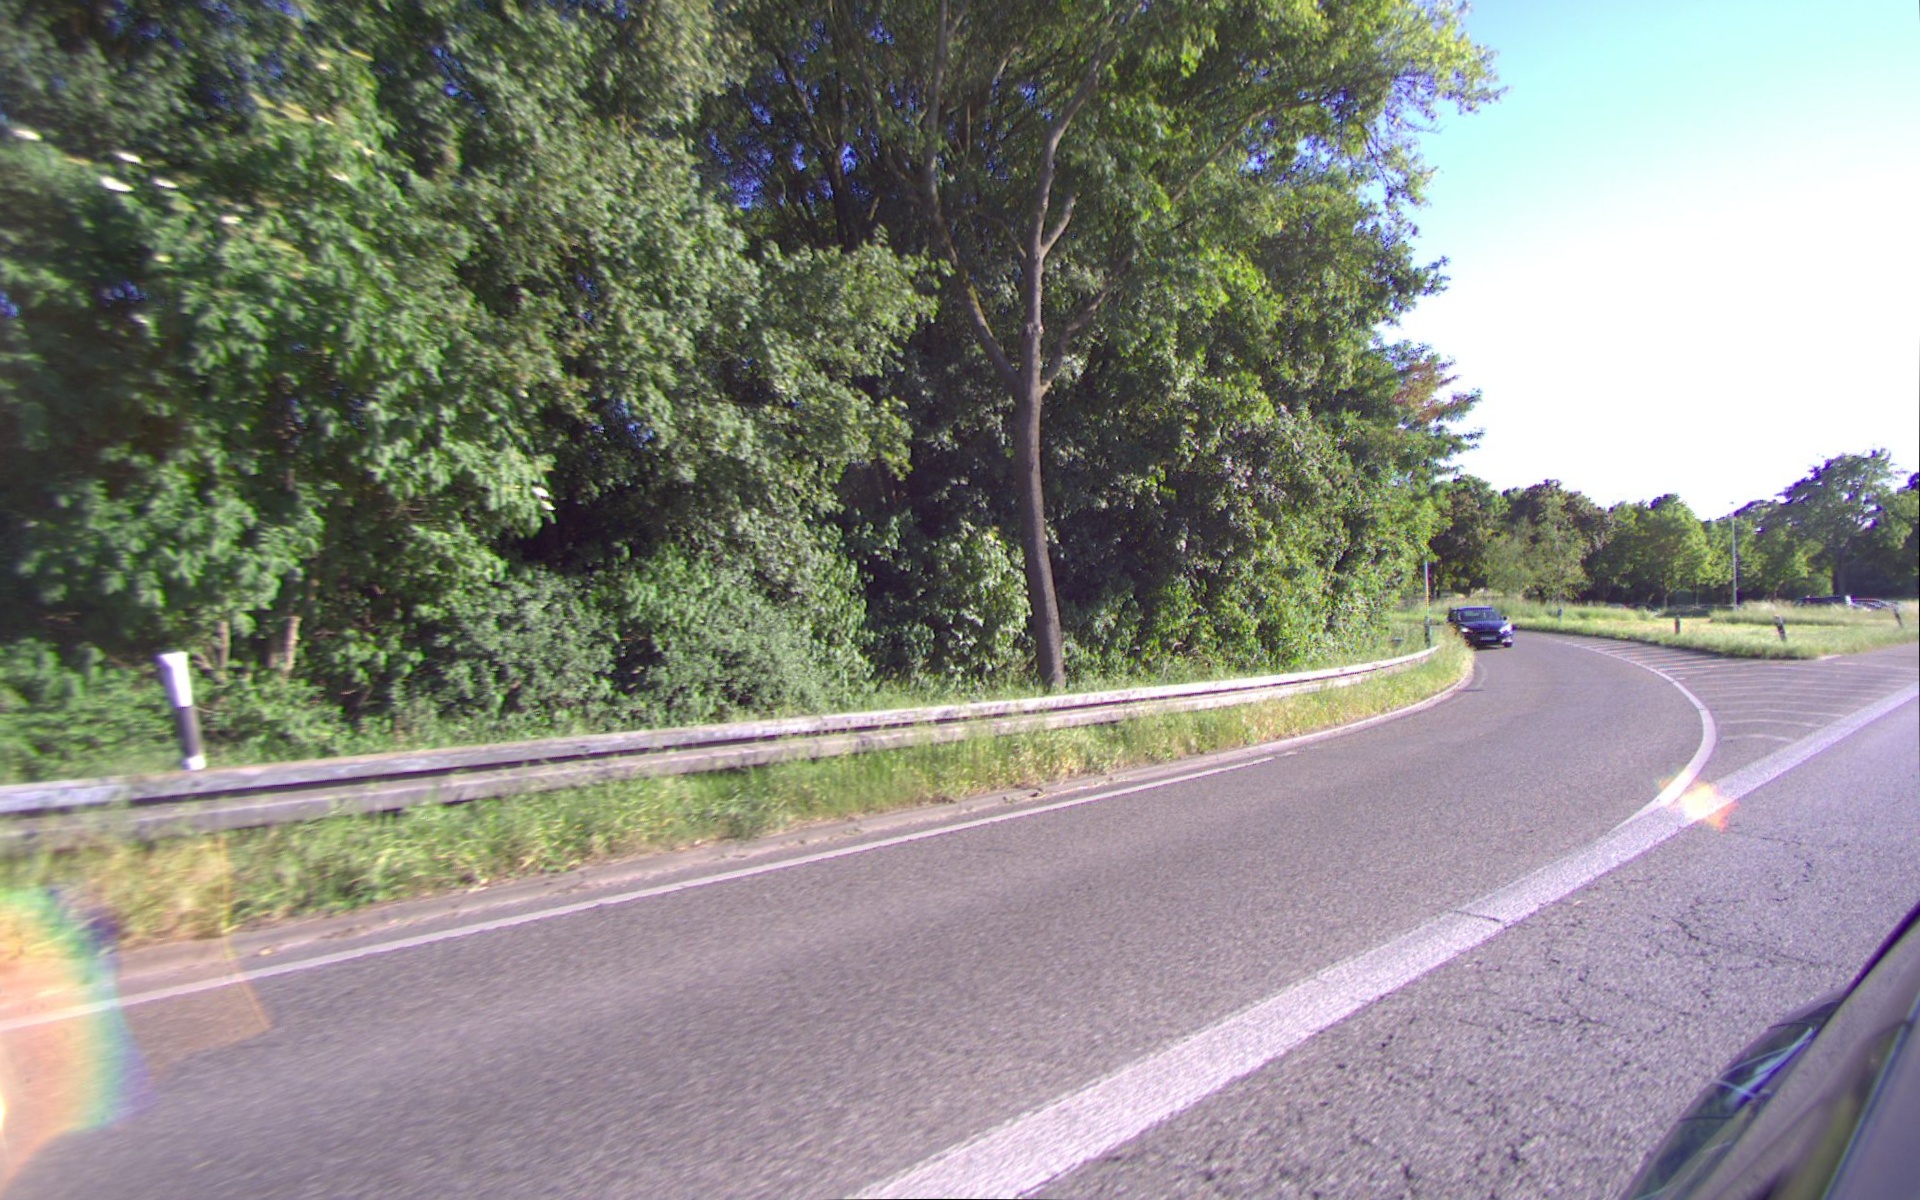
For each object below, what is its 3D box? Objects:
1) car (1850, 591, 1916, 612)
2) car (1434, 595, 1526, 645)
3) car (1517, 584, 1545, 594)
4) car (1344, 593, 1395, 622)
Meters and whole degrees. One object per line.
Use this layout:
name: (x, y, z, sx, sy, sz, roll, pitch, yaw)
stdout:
car: (95.031, 0.143, 104.237, 1.991, 2.048, 4.798, -4, 2, -39)
car: (18.801, 0.698, 36.792, 1.733, 1.593, 4.130, -4, -1, 10)
car: (91.194, -1.716, 161.556, 3.917, 1.597, 1.913, 0, 0, -25)
car: (24.891, 0.482, 61.667, 1.731, 1.593, 4.135, -4, -1, 7)
